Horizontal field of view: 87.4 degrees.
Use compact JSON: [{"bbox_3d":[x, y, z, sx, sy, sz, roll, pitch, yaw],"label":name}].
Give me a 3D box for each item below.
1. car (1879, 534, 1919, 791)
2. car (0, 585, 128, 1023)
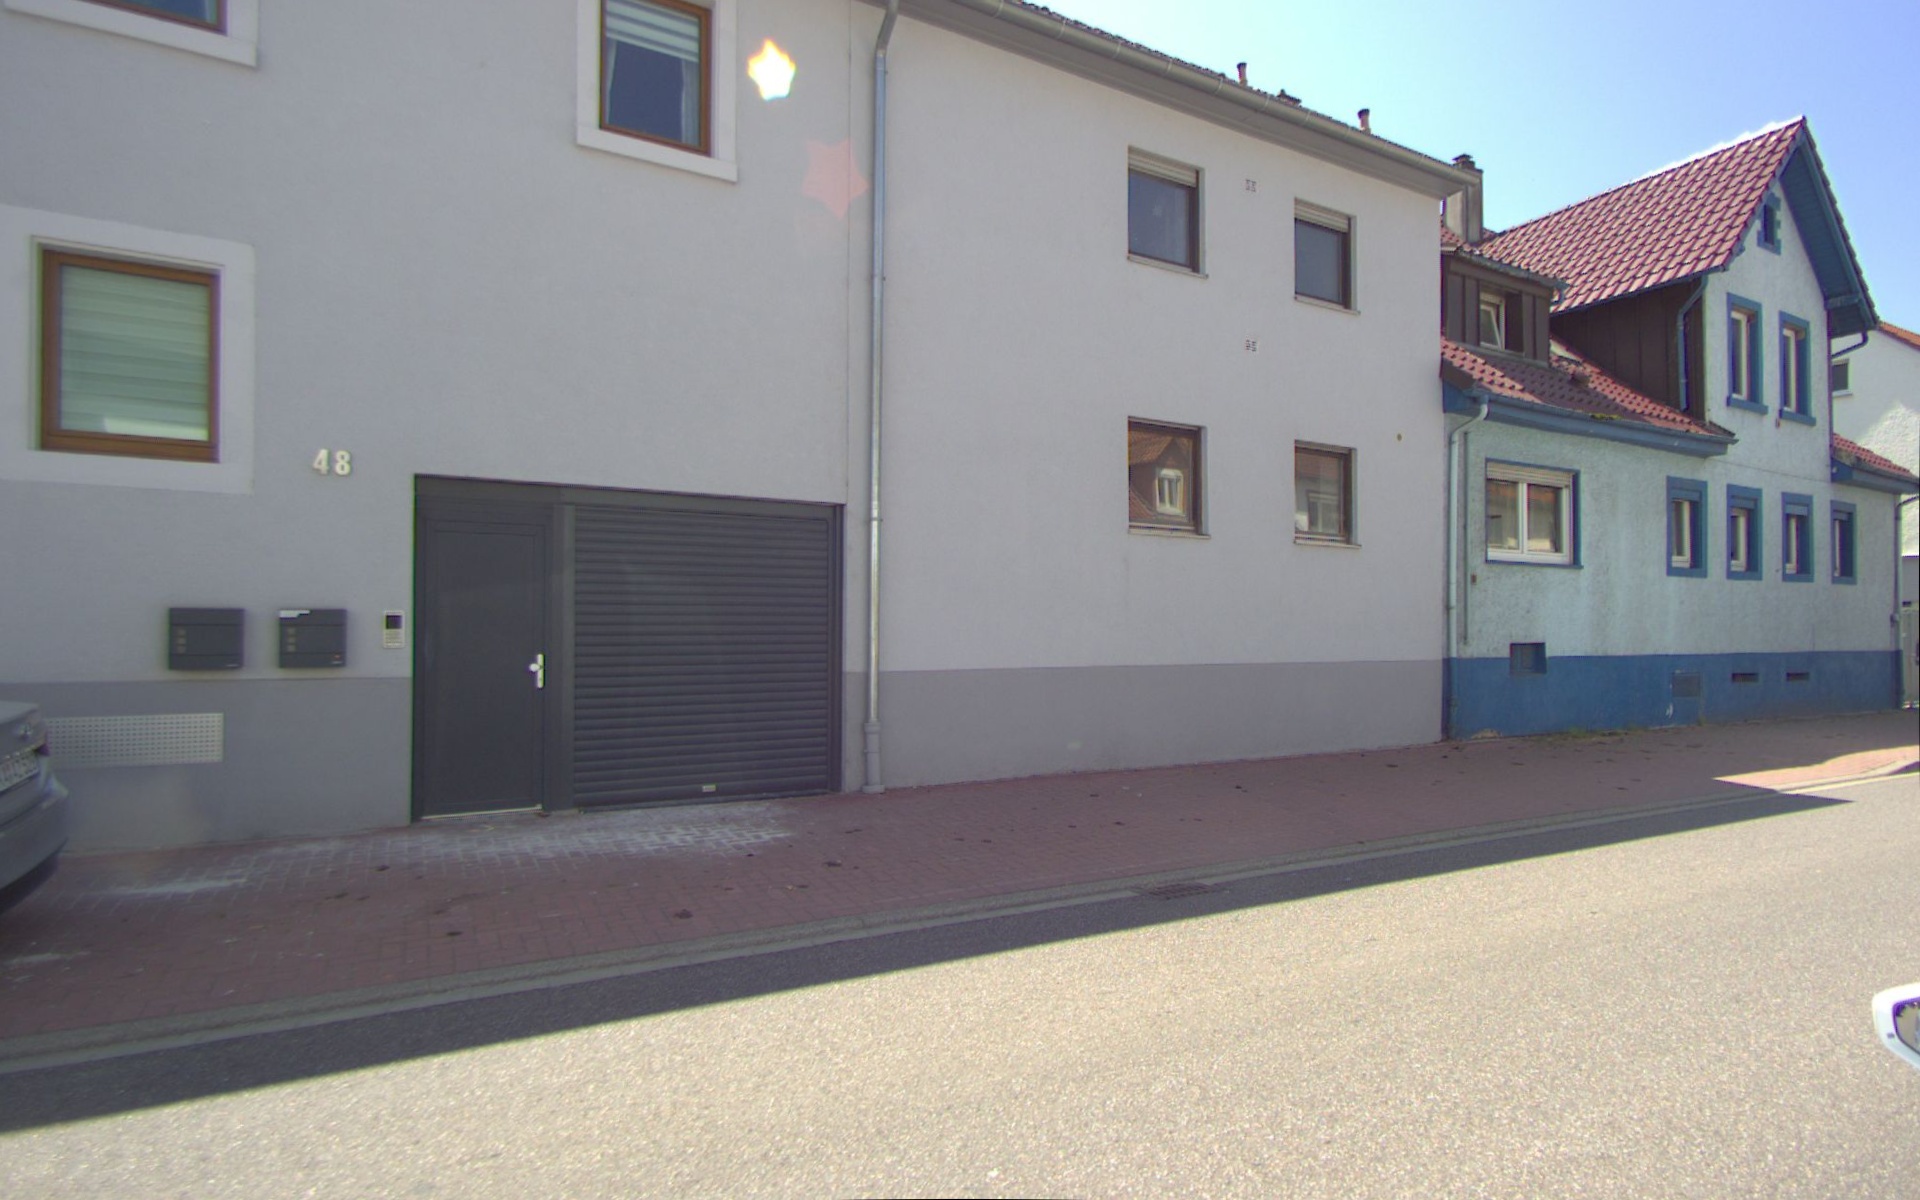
[{"bbox_3d":[12.359,0.647,10.791,5.397,2.575,2.115,1,-3,-30],"label":"car"},{"bbox_3d":[-5.843,0.692,3.282,4.509,1.578,1.800,1,1,-29],"label":"car"}]
